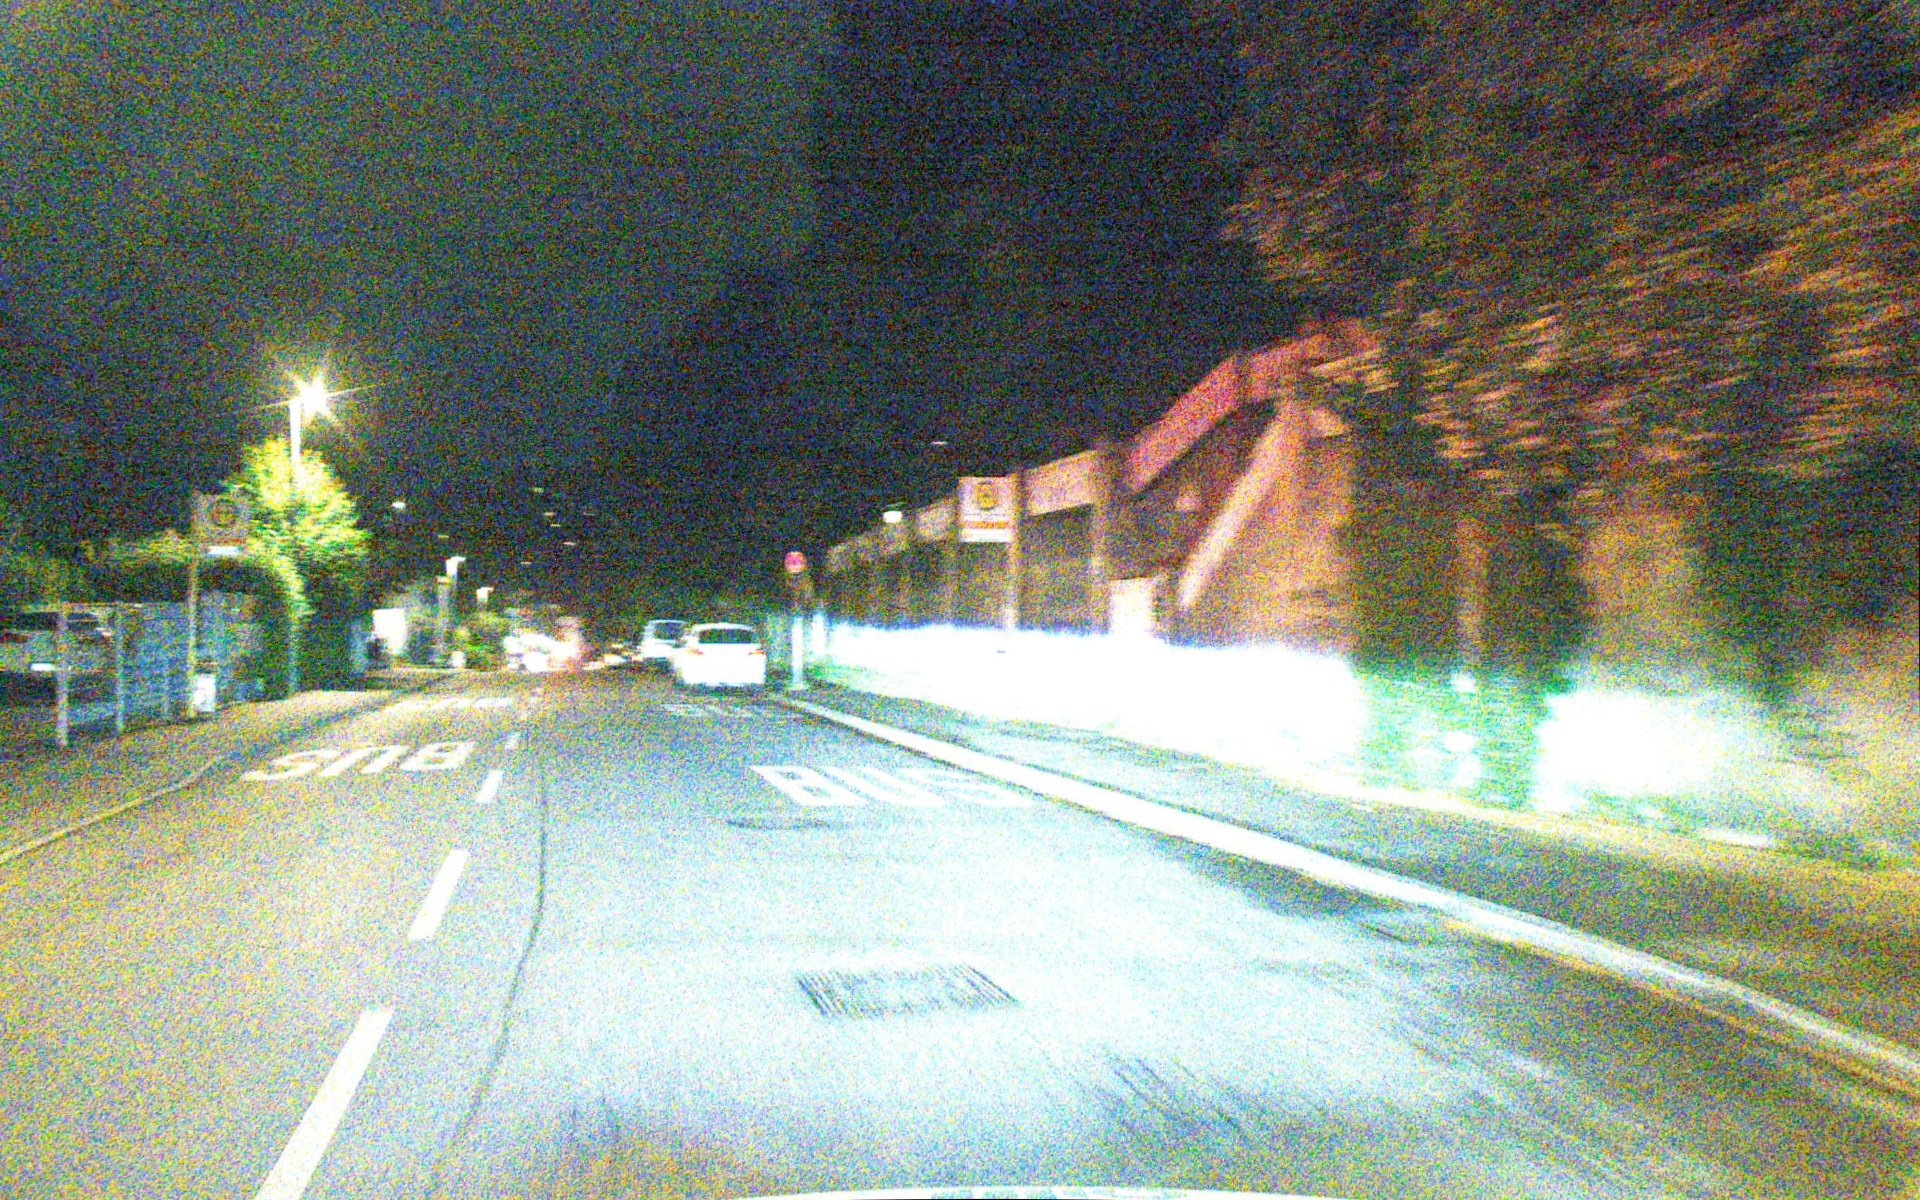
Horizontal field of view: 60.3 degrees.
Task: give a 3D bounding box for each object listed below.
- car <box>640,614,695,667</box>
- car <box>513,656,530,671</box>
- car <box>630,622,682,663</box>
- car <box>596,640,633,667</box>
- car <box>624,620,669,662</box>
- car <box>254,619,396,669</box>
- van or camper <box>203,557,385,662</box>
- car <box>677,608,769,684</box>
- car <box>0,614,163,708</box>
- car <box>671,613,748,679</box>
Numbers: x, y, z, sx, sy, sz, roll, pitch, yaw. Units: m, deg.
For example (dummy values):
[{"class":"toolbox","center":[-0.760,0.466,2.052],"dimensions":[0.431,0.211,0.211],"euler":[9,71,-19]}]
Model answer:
[{"class":"car","center":[-10.473,1.451,59.013],"dimensions":[1.689,1.792,4.741],"euler":[1,-1,-13]},{"class":"car","center":[-48.604,7.014,183.383],"dimensions":[1.725,1.567,3.712],"euler":[0,-2,-17]},{"class":"car","center":[-11.834,1.661,64.309],"dimensions":[1.714,1.497,4.240],"euler":[1,-2,-14]},{"class":"car","center":[-20.555,3.199,98.238],"dimensions":[1.735,1.502,4.254],"euler":[2,-3,-17]},{"class":"car","center":[-13.245,1.747,69.732],"dimensions":[1.799,1.693,4.604],"euler":[0,-2,-12]},{"class":"car","center":[-21.926,1.541,57.274],"dimensions":[4.341,1.642,2.058],"euler":[-1,-2,-13]},{"class":"van or camper","center":[-21.524,0.366,53.563],"dimensions":[5.327,3.166,2.116],"euler":[1,-5,-24]},{"class":"car","center":[-5.492,1.027,37.892],"dimensions":[1.724,1.622,4.712],"euler":[1,-1,-12]},{"class":"car","center":[-14.754,0.967,27.808],"dimensions":[1.944,1.464,3.978],"euler":[0,-1,-19]},{"class":"car","center":[-6.438,1.138,42.285],"dimensions":[1.582,1.486,3.703],"euler":[-3,1,-14]}]
